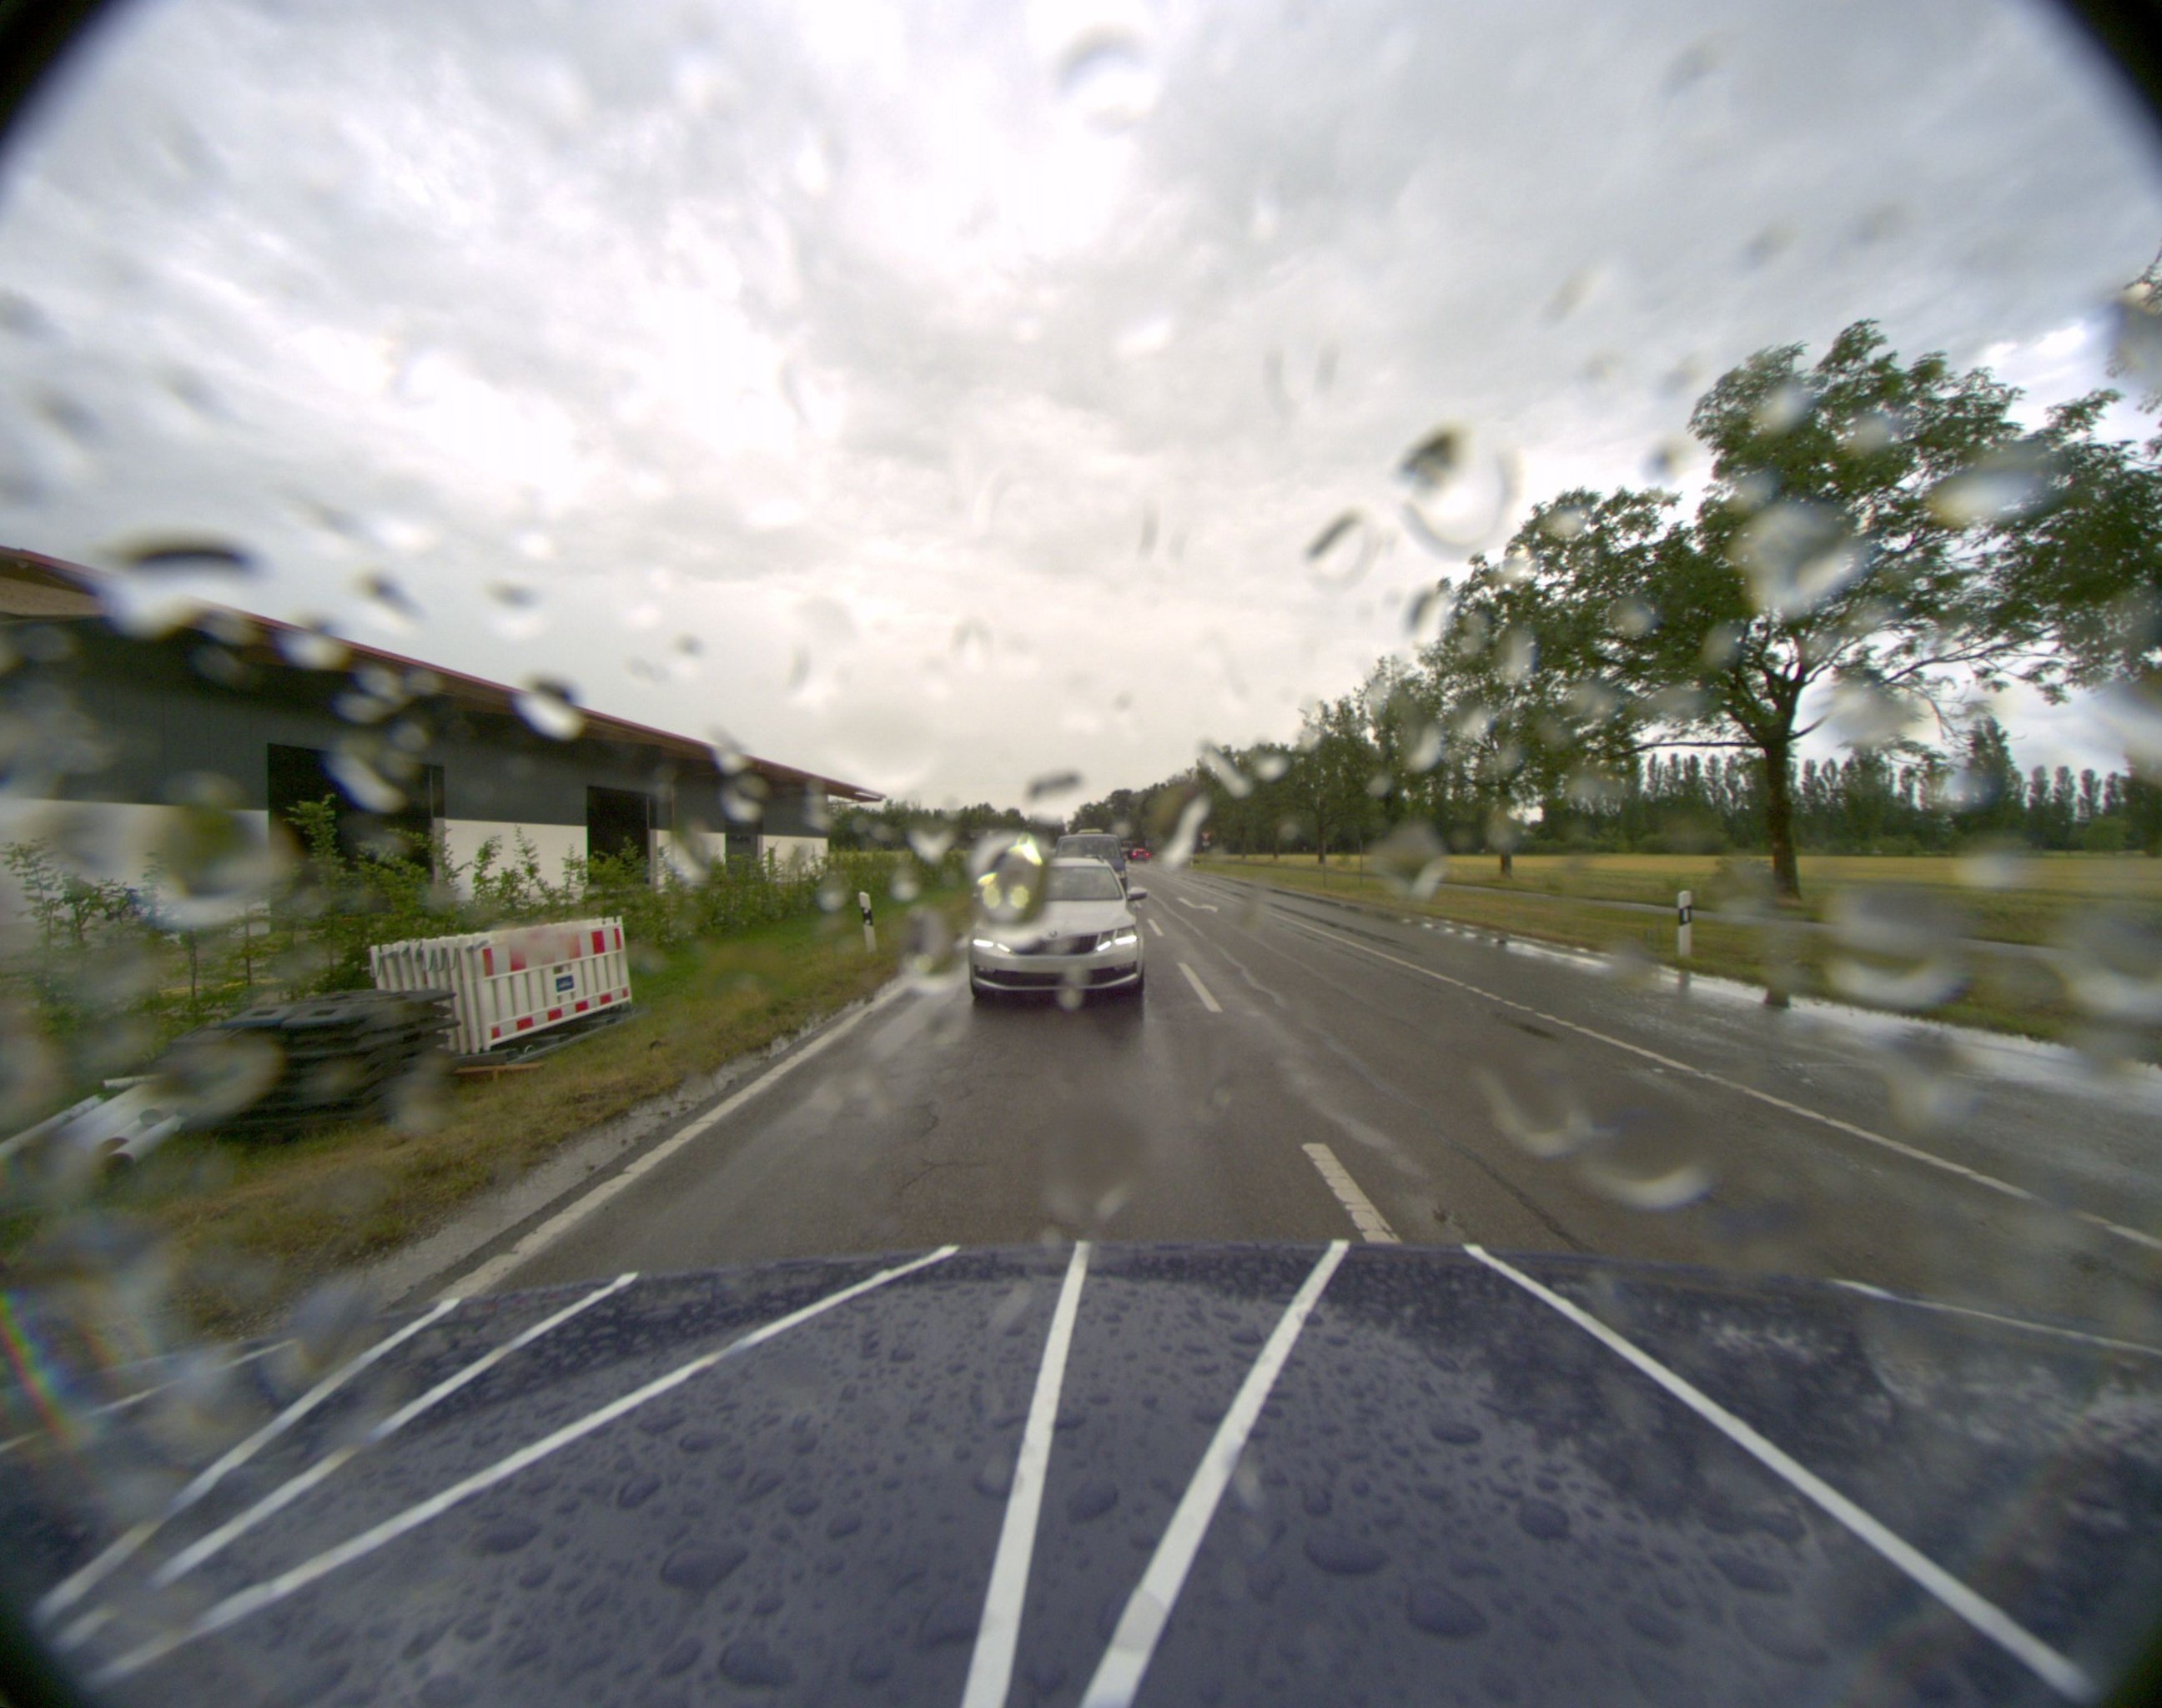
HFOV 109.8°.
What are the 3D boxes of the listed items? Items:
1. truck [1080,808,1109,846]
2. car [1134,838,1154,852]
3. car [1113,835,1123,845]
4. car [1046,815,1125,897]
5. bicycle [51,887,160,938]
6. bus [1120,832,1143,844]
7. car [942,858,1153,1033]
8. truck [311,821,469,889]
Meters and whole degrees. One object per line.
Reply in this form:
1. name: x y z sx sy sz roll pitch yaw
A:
1. truck: 1.473 -2.856 83.205 2.931 3.829 14.117 0 1 1
2. car: 6.648 -0.995 80.457 1.724 1.396 4.042 1 1 0
3. car: 6.442 -2.475 131.884 1.708 1.662 4.155 1 1 2
4. car: 0.132 0.013 20.173 1.892 1.939 3.999 0 1 1
5. bicycle: -23.176 1.364 18.096 0.391 1.066 1.660 0 1 1
6. bus: 12.239 -3.893 182.946 2.954 2.895 12.489 1 1 17
7. car: -0.270 0.836 9.119 1.843 1.379 4.568 -2 1 1
8. truck: -32.620 -0.002 36.180 2.496 2.996 5.343 0 1 1
